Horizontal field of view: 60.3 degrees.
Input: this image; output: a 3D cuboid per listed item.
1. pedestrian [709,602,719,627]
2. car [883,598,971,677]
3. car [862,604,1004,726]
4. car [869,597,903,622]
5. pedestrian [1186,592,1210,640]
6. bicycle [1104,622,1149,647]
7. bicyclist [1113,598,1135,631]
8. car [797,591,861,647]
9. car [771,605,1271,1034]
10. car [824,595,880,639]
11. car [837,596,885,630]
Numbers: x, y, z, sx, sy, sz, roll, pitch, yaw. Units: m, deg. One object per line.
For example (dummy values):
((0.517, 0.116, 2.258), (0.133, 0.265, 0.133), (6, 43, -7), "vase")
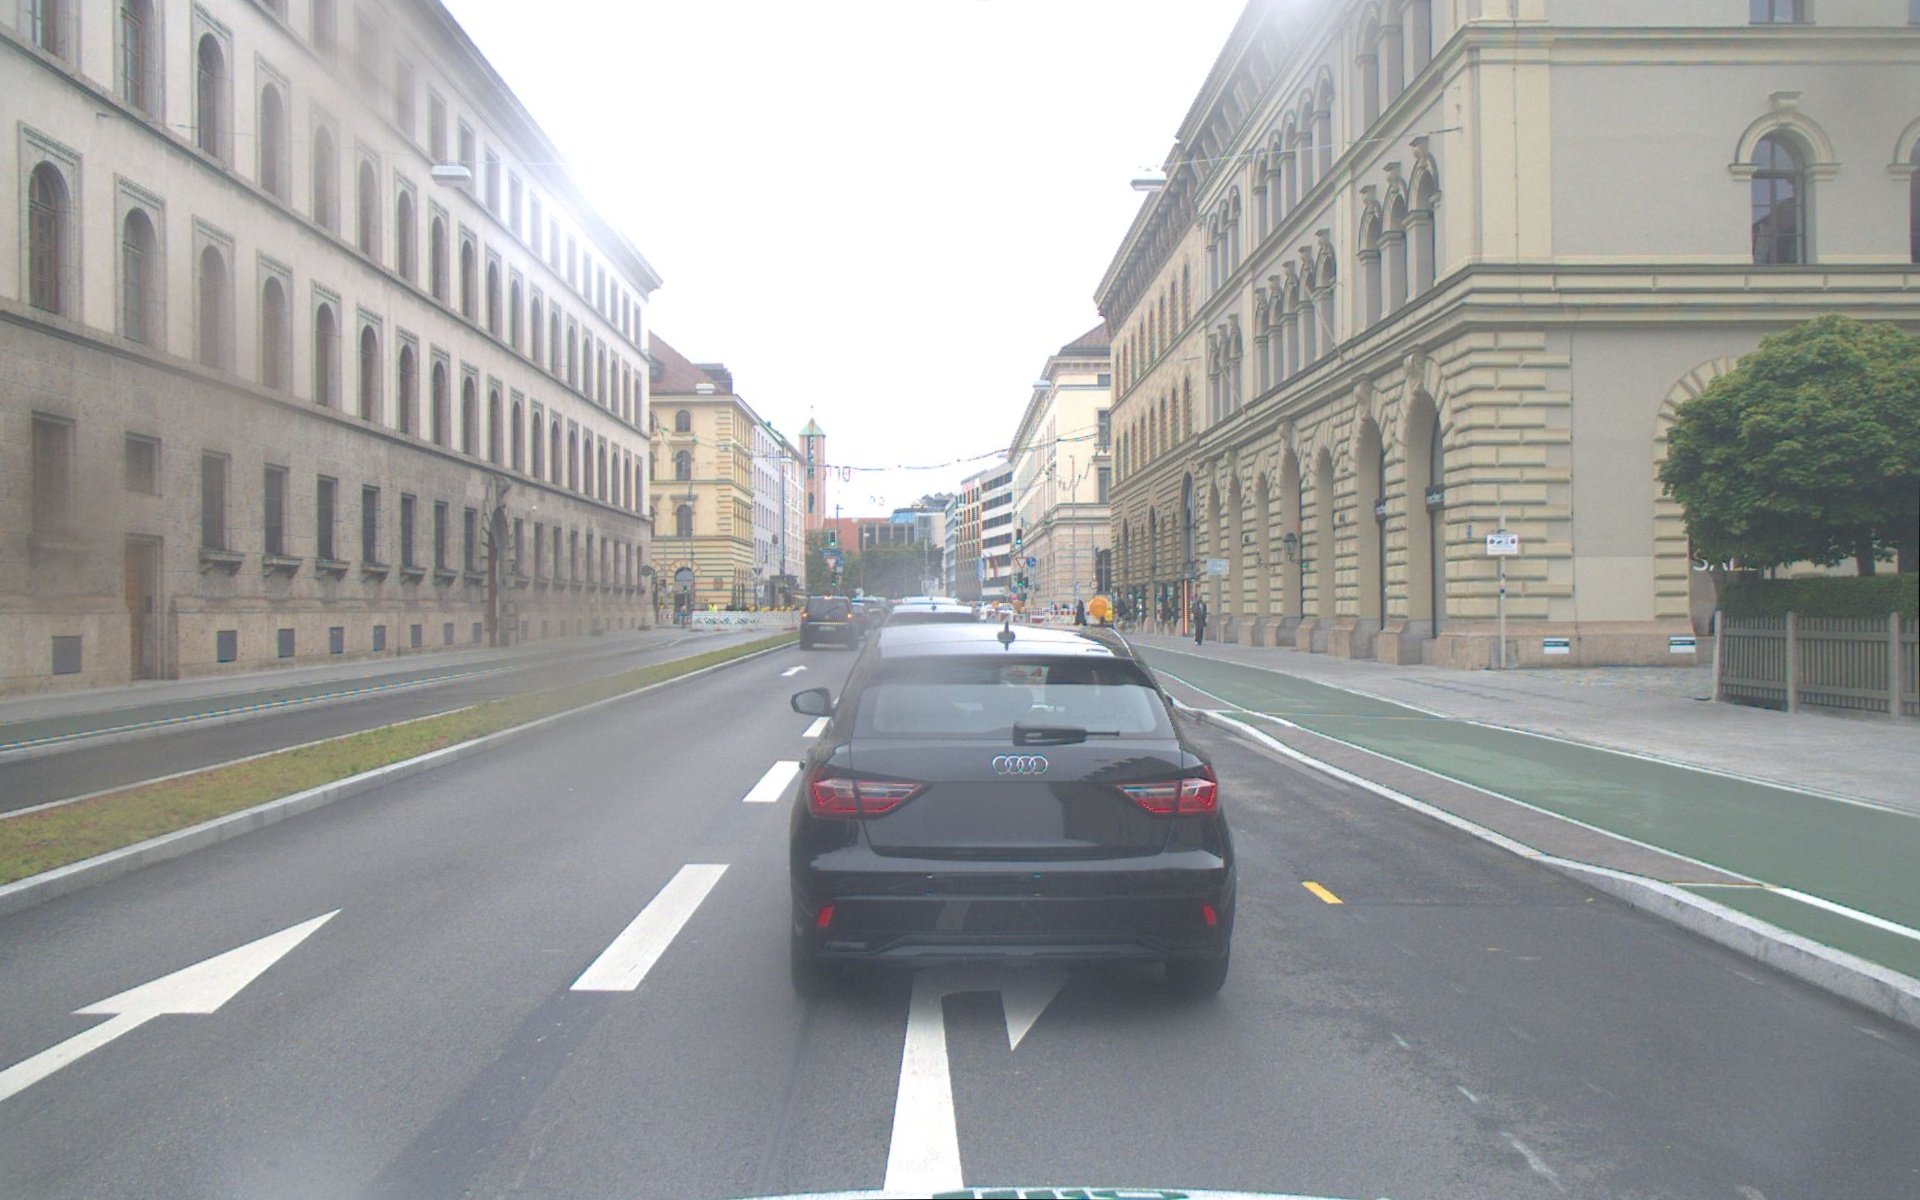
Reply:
((-18.283, 1.101, 123.059), (0.642, 1.836, 0.727), (0, 0, -2), "pedestrian")
((-0.679, 0.722, 34.038), (1.695, 1.486, 3.999), (1, 0, -1), "car")
((-0.360, 0.791, 22.022), (1.695, 1.427, 3.999), (1, 0, -1), "car")
((-4.462, 0.538, 100.100), (1.953, 1.469, 3.999), (0, 0, -1), "car")
((8.199, 0.544, 56.966), (0.695, 1.646, 0.754), (0, 0, -2), "pedestrian")
((7.923, 1.626, 78.726), (2.134, 1.176, 0.726), (-1, 0, 43), "bicycle")
((7.825, 0.684, 78.821), (0.741, 1.526, 0.708), (-1, 0, 43), "bicyclist")
((-4.021, 0.567, 51.416), (1.729, 1.644, 4.029), (1, 0, -1), "car")
((0.175, 0.761, 7.658), (1.695, 1.427, 3.999), (1, 0, -1), "car")
((-4.154, 0.654, 64.394), (1.953, 1.656, 3.999), (0, 0, -1), "car")
((-4.481, 0.572, 75.282), (1.953, 1.469, 3.999), (0, 0, -1), "car")
